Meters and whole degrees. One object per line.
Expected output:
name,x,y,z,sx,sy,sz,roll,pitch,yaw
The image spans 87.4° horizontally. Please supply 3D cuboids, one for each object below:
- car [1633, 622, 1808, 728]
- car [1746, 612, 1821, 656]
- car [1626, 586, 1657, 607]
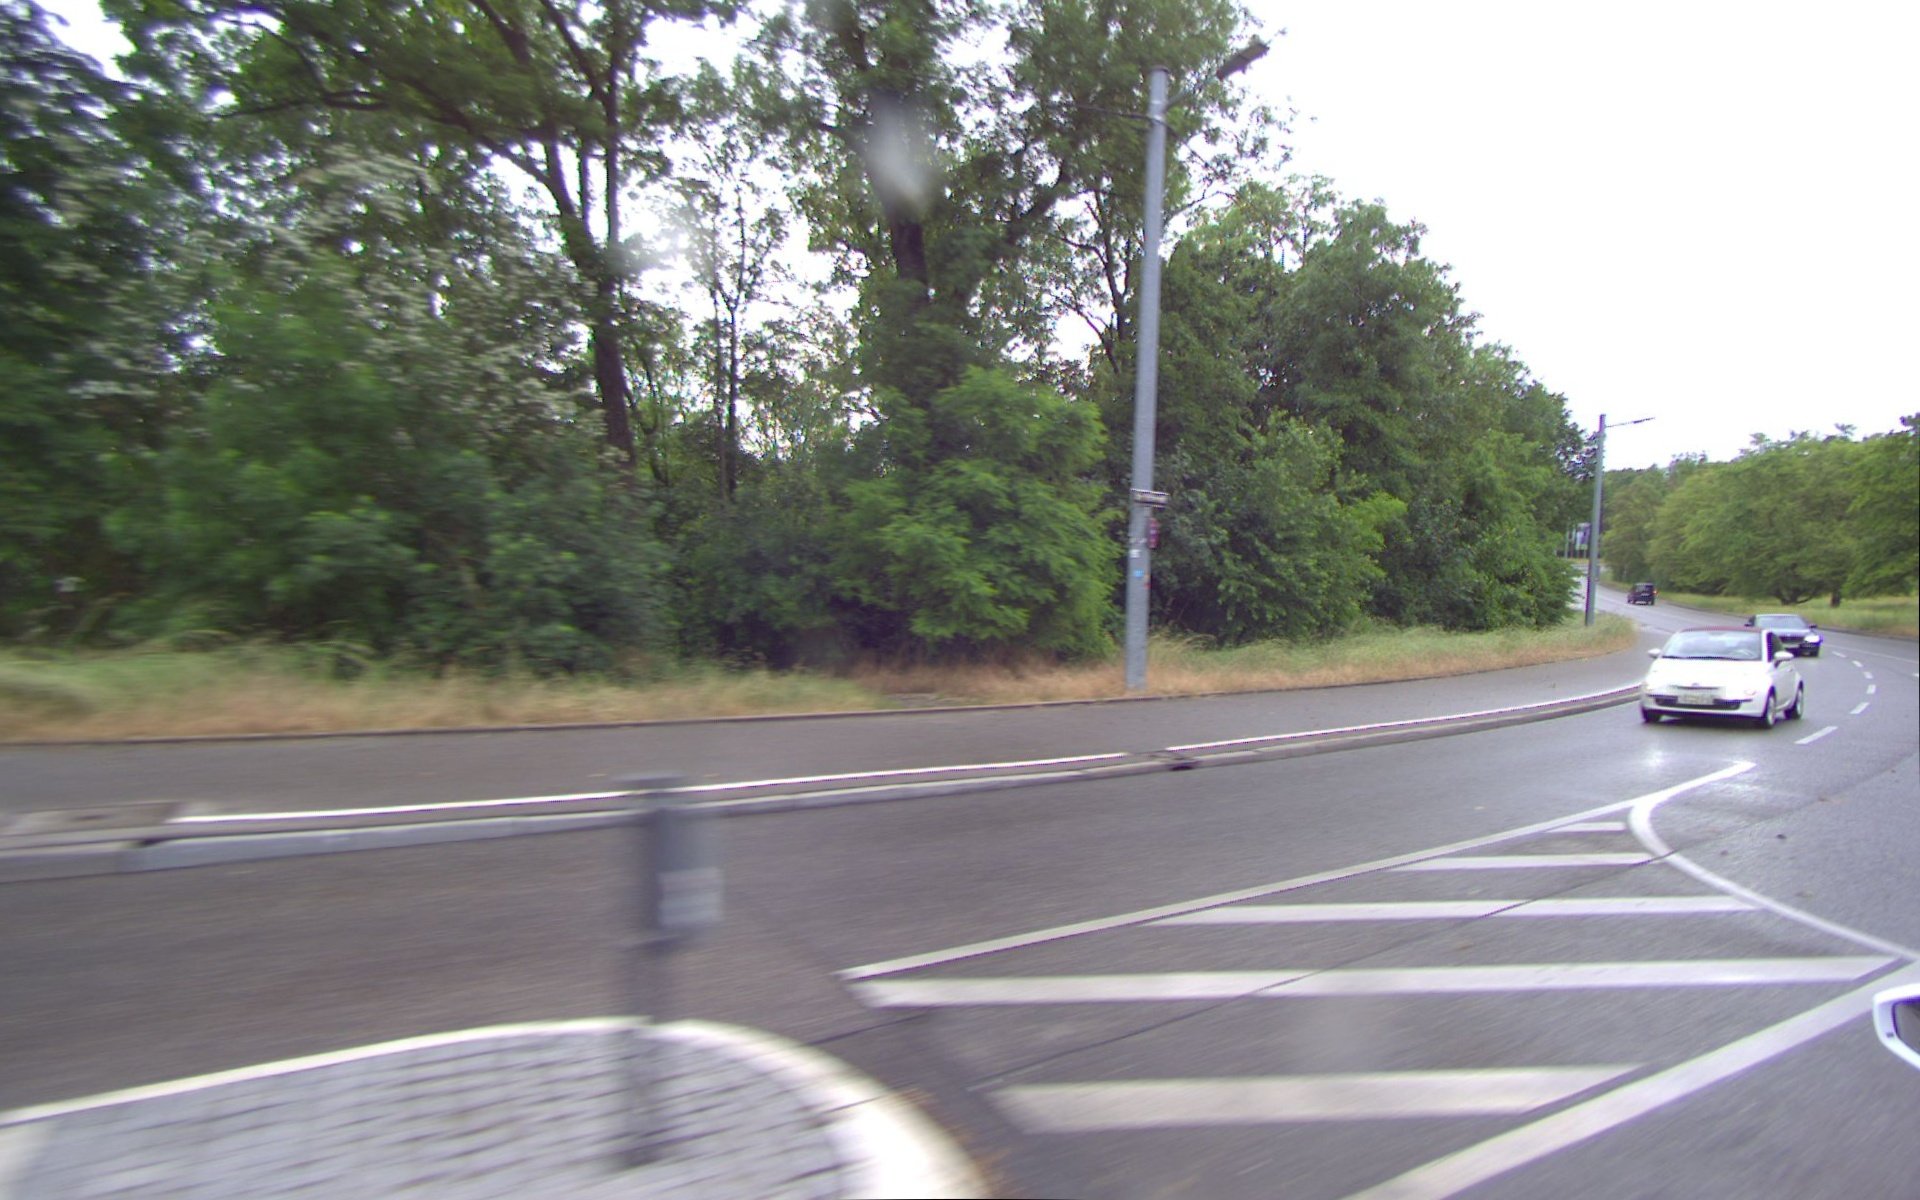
car,12.234,1.115,16.087,3.639,1.497,1.552,1,-1,-42
car,30.346,1.234,37.137,1.822,1.521,4.615,-1,-2,36
car,61.403,-0.349,90.587,1.715,1.740,3.994,4,3,27
